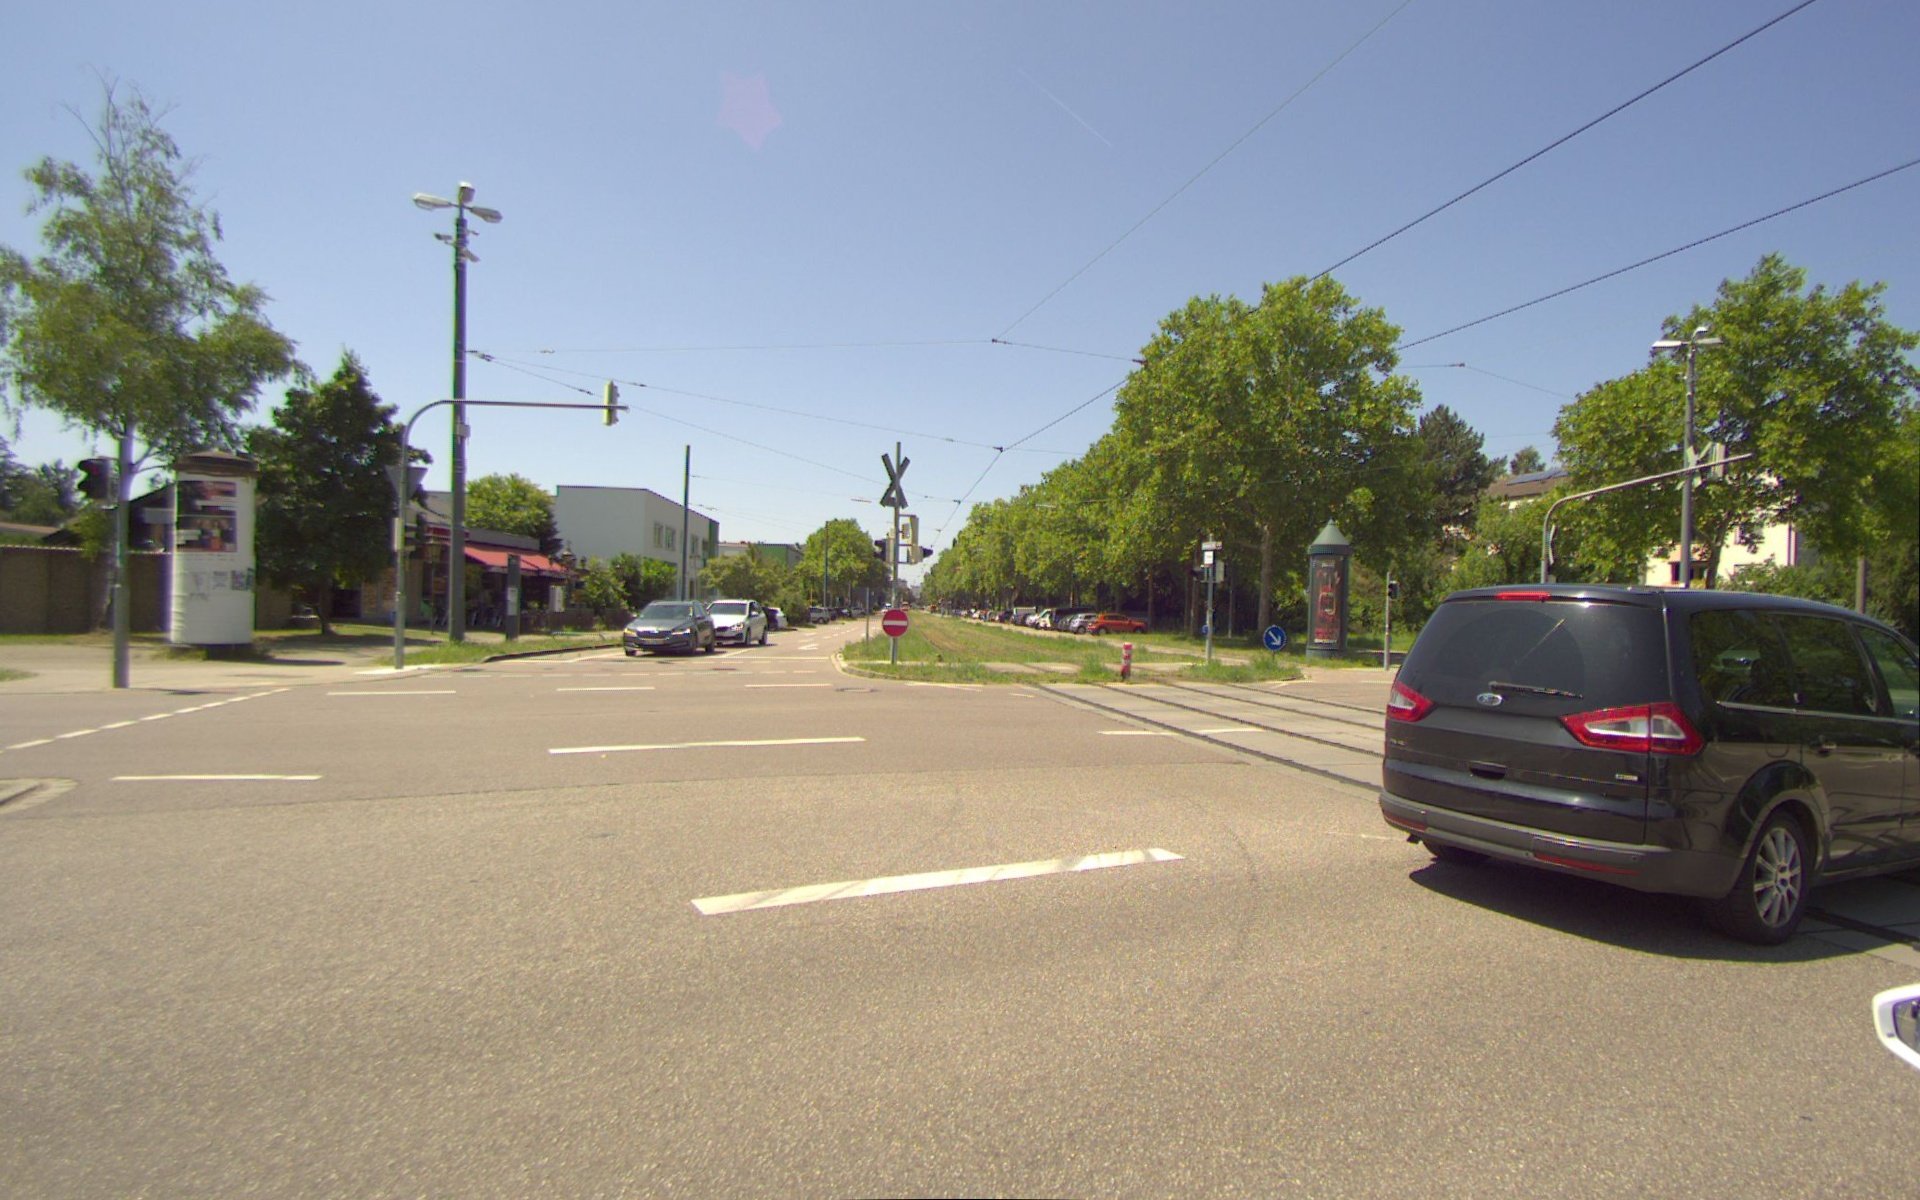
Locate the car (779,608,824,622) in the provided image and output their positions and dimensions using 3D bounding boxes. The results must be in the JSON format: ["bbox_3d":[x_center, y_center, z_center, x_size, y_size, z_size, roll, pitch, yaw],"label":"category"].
[{"bbox_3d":[-14.495,1.376,91.833,3.845,1.221,1.352,2,0,-28],"label":"car"}]

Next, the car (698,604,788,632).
[{"bbox_3d":[-11.692,0.980,54.207,4.339,1.430,1.862,2,0,-32],"label":"car"}]

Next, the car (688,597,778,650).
[{"bbox_3d":[-7.557,0.739,33.857,2.174,1.626,4.459,1,0,-3],"label":"car"}]

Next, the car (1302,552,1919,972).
[{"bbox_3d":[4.470,0.736,6.162,4.591,1.779,1.846,2,0,-28],"label":"car"}]

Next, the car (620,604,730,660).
[{"bbox_3d":[-7.764,0.832,27.825,1.851,1.399,4.669,1,-1,-2],"label":"car"}]

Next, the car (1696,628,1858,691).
[{"bbox_3d":[23.310,1.663,28.669,4.342,1.636,1.783,1,0,-23],"label":"car"}]

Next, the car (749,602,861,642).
[{"bbox_3d":[-6.749,0.966,43.855,4.519,1.673,1.768,1,0,-32],"label":"car"}]

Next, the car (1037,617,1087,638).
[{"bbox_3d":[7.626,2.060,75.390,3.484,1.415,1.498,1,0,-8],"label":"car"}]

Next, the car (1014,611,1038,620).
[{"bbox_3d":[7.944,1.903,121.006,2.670,1.008,1.008,2,0,-6],"label":"car"}]

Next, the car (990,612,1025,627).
[{"bbox_3d":[5.114,2.093,107.958,3.484,1.415,1.498,1,0,-8],"label":"car"}]

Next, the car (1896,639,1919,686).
[{"bbox_3d":[32.711,2.085,32.732,3.811,1.475,1.717,2,0,-21],"label":"car"}]

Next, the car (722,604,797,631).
[{"bbox_3d":[-11.903,1.043,59.634,4.012,1.442,1.932,2,0,-29],"label":"car"}]

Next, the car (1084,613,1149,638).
[{"bbox_3d":[10.557,1.700,67.784,4.061,1.415,1.457,3,1,-8],"label":"car"}]

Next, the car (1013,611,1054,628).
[{"bbox_3d":[6.748,1.765,92.358,3.484,1.415,1.498,1,0,-8],"label":"car"}]
